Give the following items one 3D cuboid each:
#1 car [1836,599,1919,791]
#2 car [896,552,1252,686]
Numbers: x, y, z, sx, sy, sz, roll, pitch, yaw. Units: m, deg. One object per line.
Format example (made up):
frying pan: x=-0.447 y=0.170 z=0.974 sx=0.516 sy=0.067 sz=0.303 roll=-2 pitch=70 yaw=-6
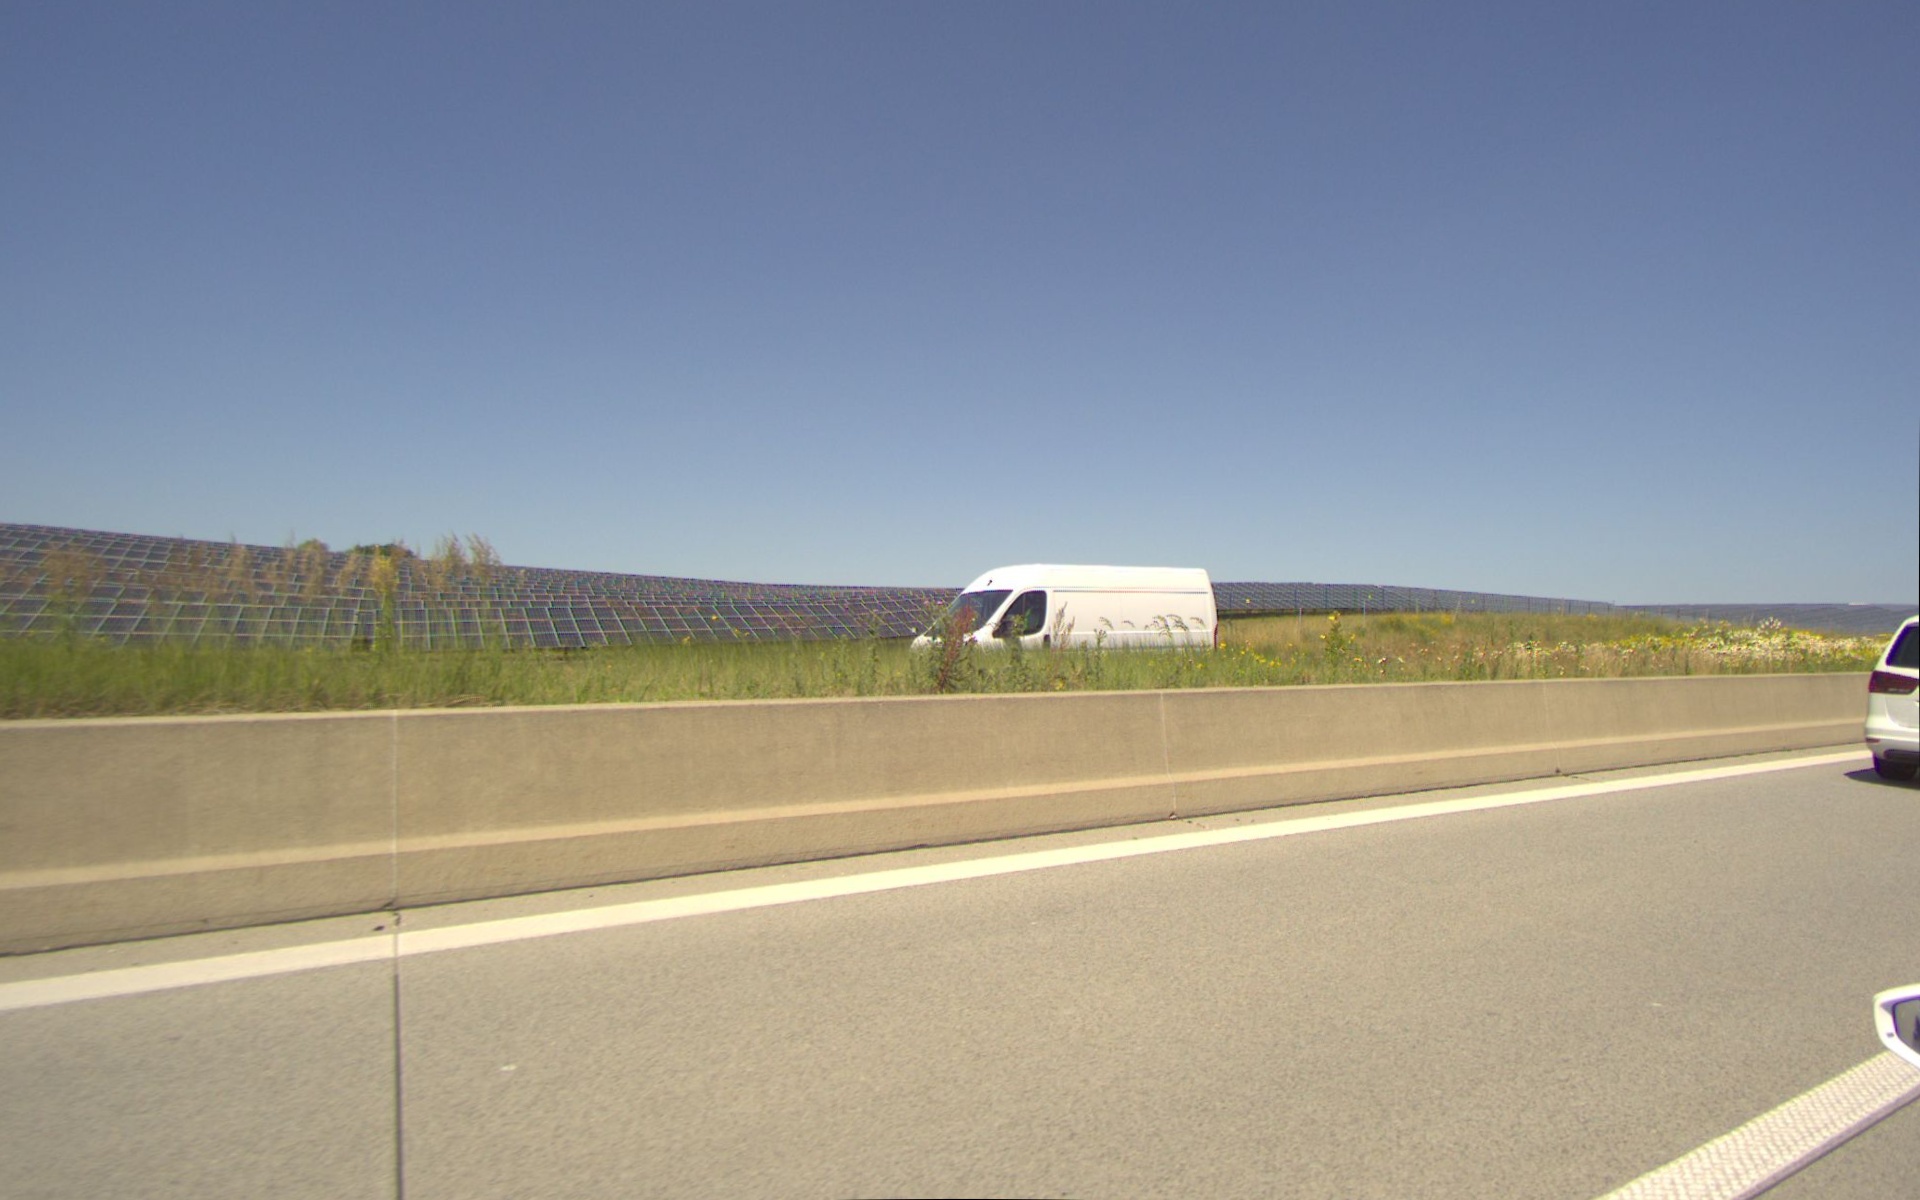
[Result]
car: x=11.447 y=0.970 z=10.347 sx=5.966 sy=1.731 sz=1.836 roll=2 pitch=0 yaw=-30
car: x=2.167 y=0.383 z=17.913 sx=6.277 sy=2.040 sz=2.172 roll=2 pitch=0 yaw=-32
